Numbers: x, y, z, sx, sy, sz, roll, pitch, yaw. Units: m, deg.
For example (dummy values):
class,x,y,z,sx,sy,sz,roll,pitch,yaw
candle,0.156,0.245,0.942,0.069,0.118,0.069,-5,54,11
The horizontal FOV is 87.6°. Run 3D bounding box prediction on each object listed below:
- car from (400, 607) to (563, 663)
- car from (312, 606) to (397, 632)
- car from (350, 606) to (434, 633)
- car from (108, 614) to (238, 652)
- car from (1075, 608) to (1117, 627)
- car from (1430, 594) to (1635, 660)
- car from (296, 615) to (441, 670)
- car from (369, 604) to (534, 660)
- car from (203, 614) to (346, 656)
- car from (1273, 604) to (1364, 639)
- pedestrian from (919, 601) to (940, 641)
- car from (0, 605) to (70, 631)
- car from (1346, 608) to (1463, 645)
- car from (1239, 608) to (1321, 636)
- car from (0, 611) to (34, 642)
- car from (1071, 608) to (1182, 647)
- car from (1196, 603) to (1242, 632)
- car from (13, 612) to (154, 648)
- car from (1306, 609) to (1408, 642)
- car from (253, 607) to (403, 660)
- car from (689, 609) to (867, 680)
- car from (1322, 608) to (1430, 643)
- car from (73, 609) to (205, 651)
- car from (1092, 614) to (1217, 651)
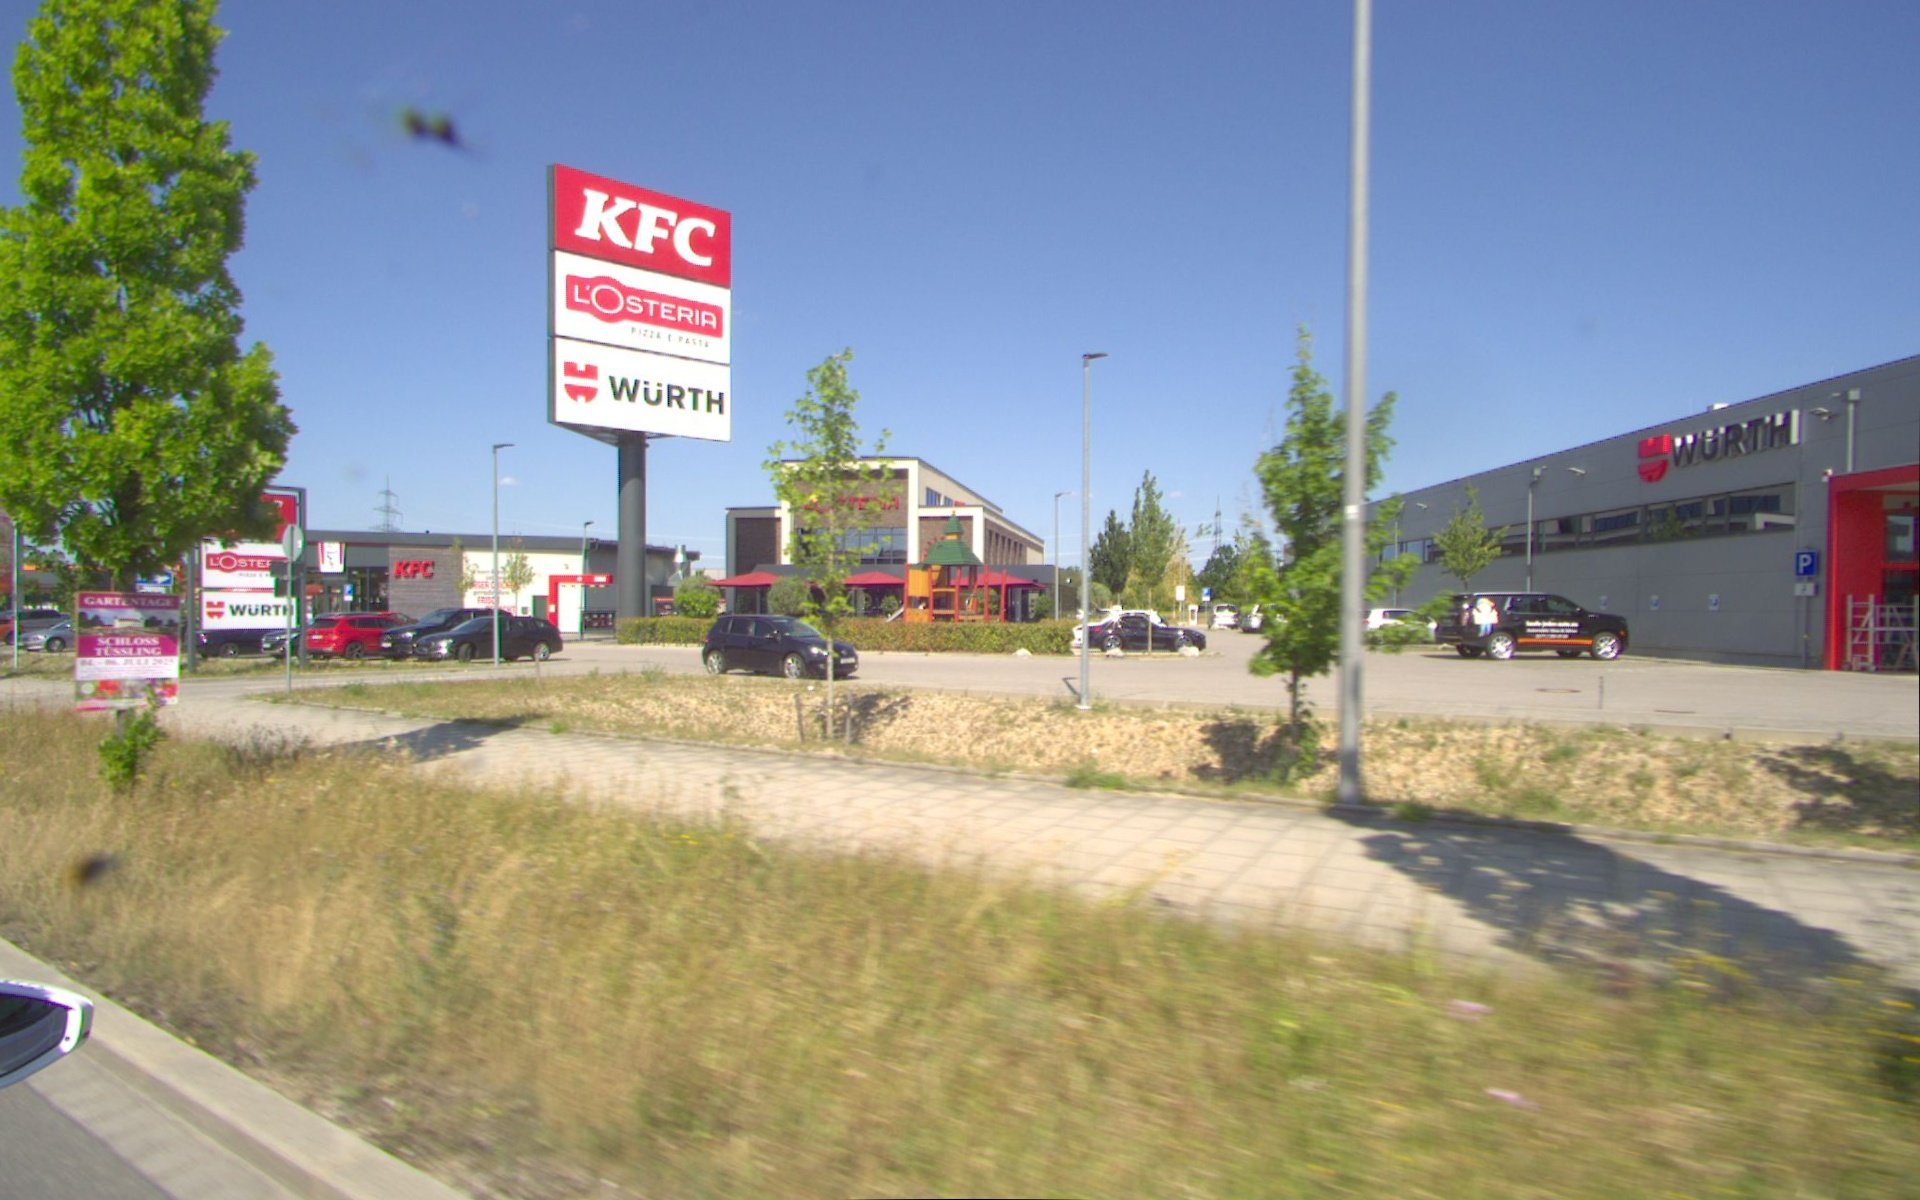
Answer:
class,x,y,z,sx,sy,sz,roll,pitch,yaw
car,-15.084,1.052,31.830,1.963,1.587,4.403,1,1,27
car,-36.386,1.110,60.322,1.833,1.450,4.566,0,0,11
car,-33.789,1.143,59.733,1.833,1.450,4.566,0,0,11
car,-34.082,1.394,43.502,1.760,1.468,4.158,1,0,20
car,12.321,1.572,90.588,3.712,1.610,1.626,0,0,9
car,16.796,0.773,29.593,4.828,1.839,2.049,0,0,3
car,-21.037,1.464,35.853,1.759,1.758,4.412,1,0,18
car,-17.690,1.040,35.118,1.909,1.758,4.978,1,1,27
car,-27.103,1.345,39.688,1.770,1.469,4.384,1,1,41
car,18.232,1.089,51.070,4.029,1.780,1.702,0,0,1
pedestrian,-1.363,0.940,44.409,0.806,1.772,0.518,0,0,15
car,-59.839,1.126,64.045,1.757,1.657,4.167,0,0,10
car,18.138,1.059,40.942,4.029,1.481,1.702,0,0,1
car,17.835,1.223,55.978,4.029,1.481,1.702,0,0,1
car,-49.468,1.339,50.113,1.835,1.510,4.210,0,0,18
car,6.566,1.083,39.849,4.150,1.491,1.702,0,0,0
car,17.194,1.154,66.713,2.009,1.839,4.924,0,0,3
car,-40.425,1.342,46.324,1.837,1.510,4.558,1,0,22
car,18.390,1.171,46.481,4.029,1.481,1.702,0,0,1
car,-23.363,1.182,37.188,1.764,1.758,4.400,1,1,29
car,-4.360,0.998,23.783,4.111,1.560,1.776,0,-1,34
car,18.177,1.115,43.870,4.029,1.481,1.702,0,0,1
car,-36.292,1.272,44.400,1.838,1.687,4.152,1,1,26
car,6.742,1.118,34.967,4.055,1.228,1.654,0,0,0
